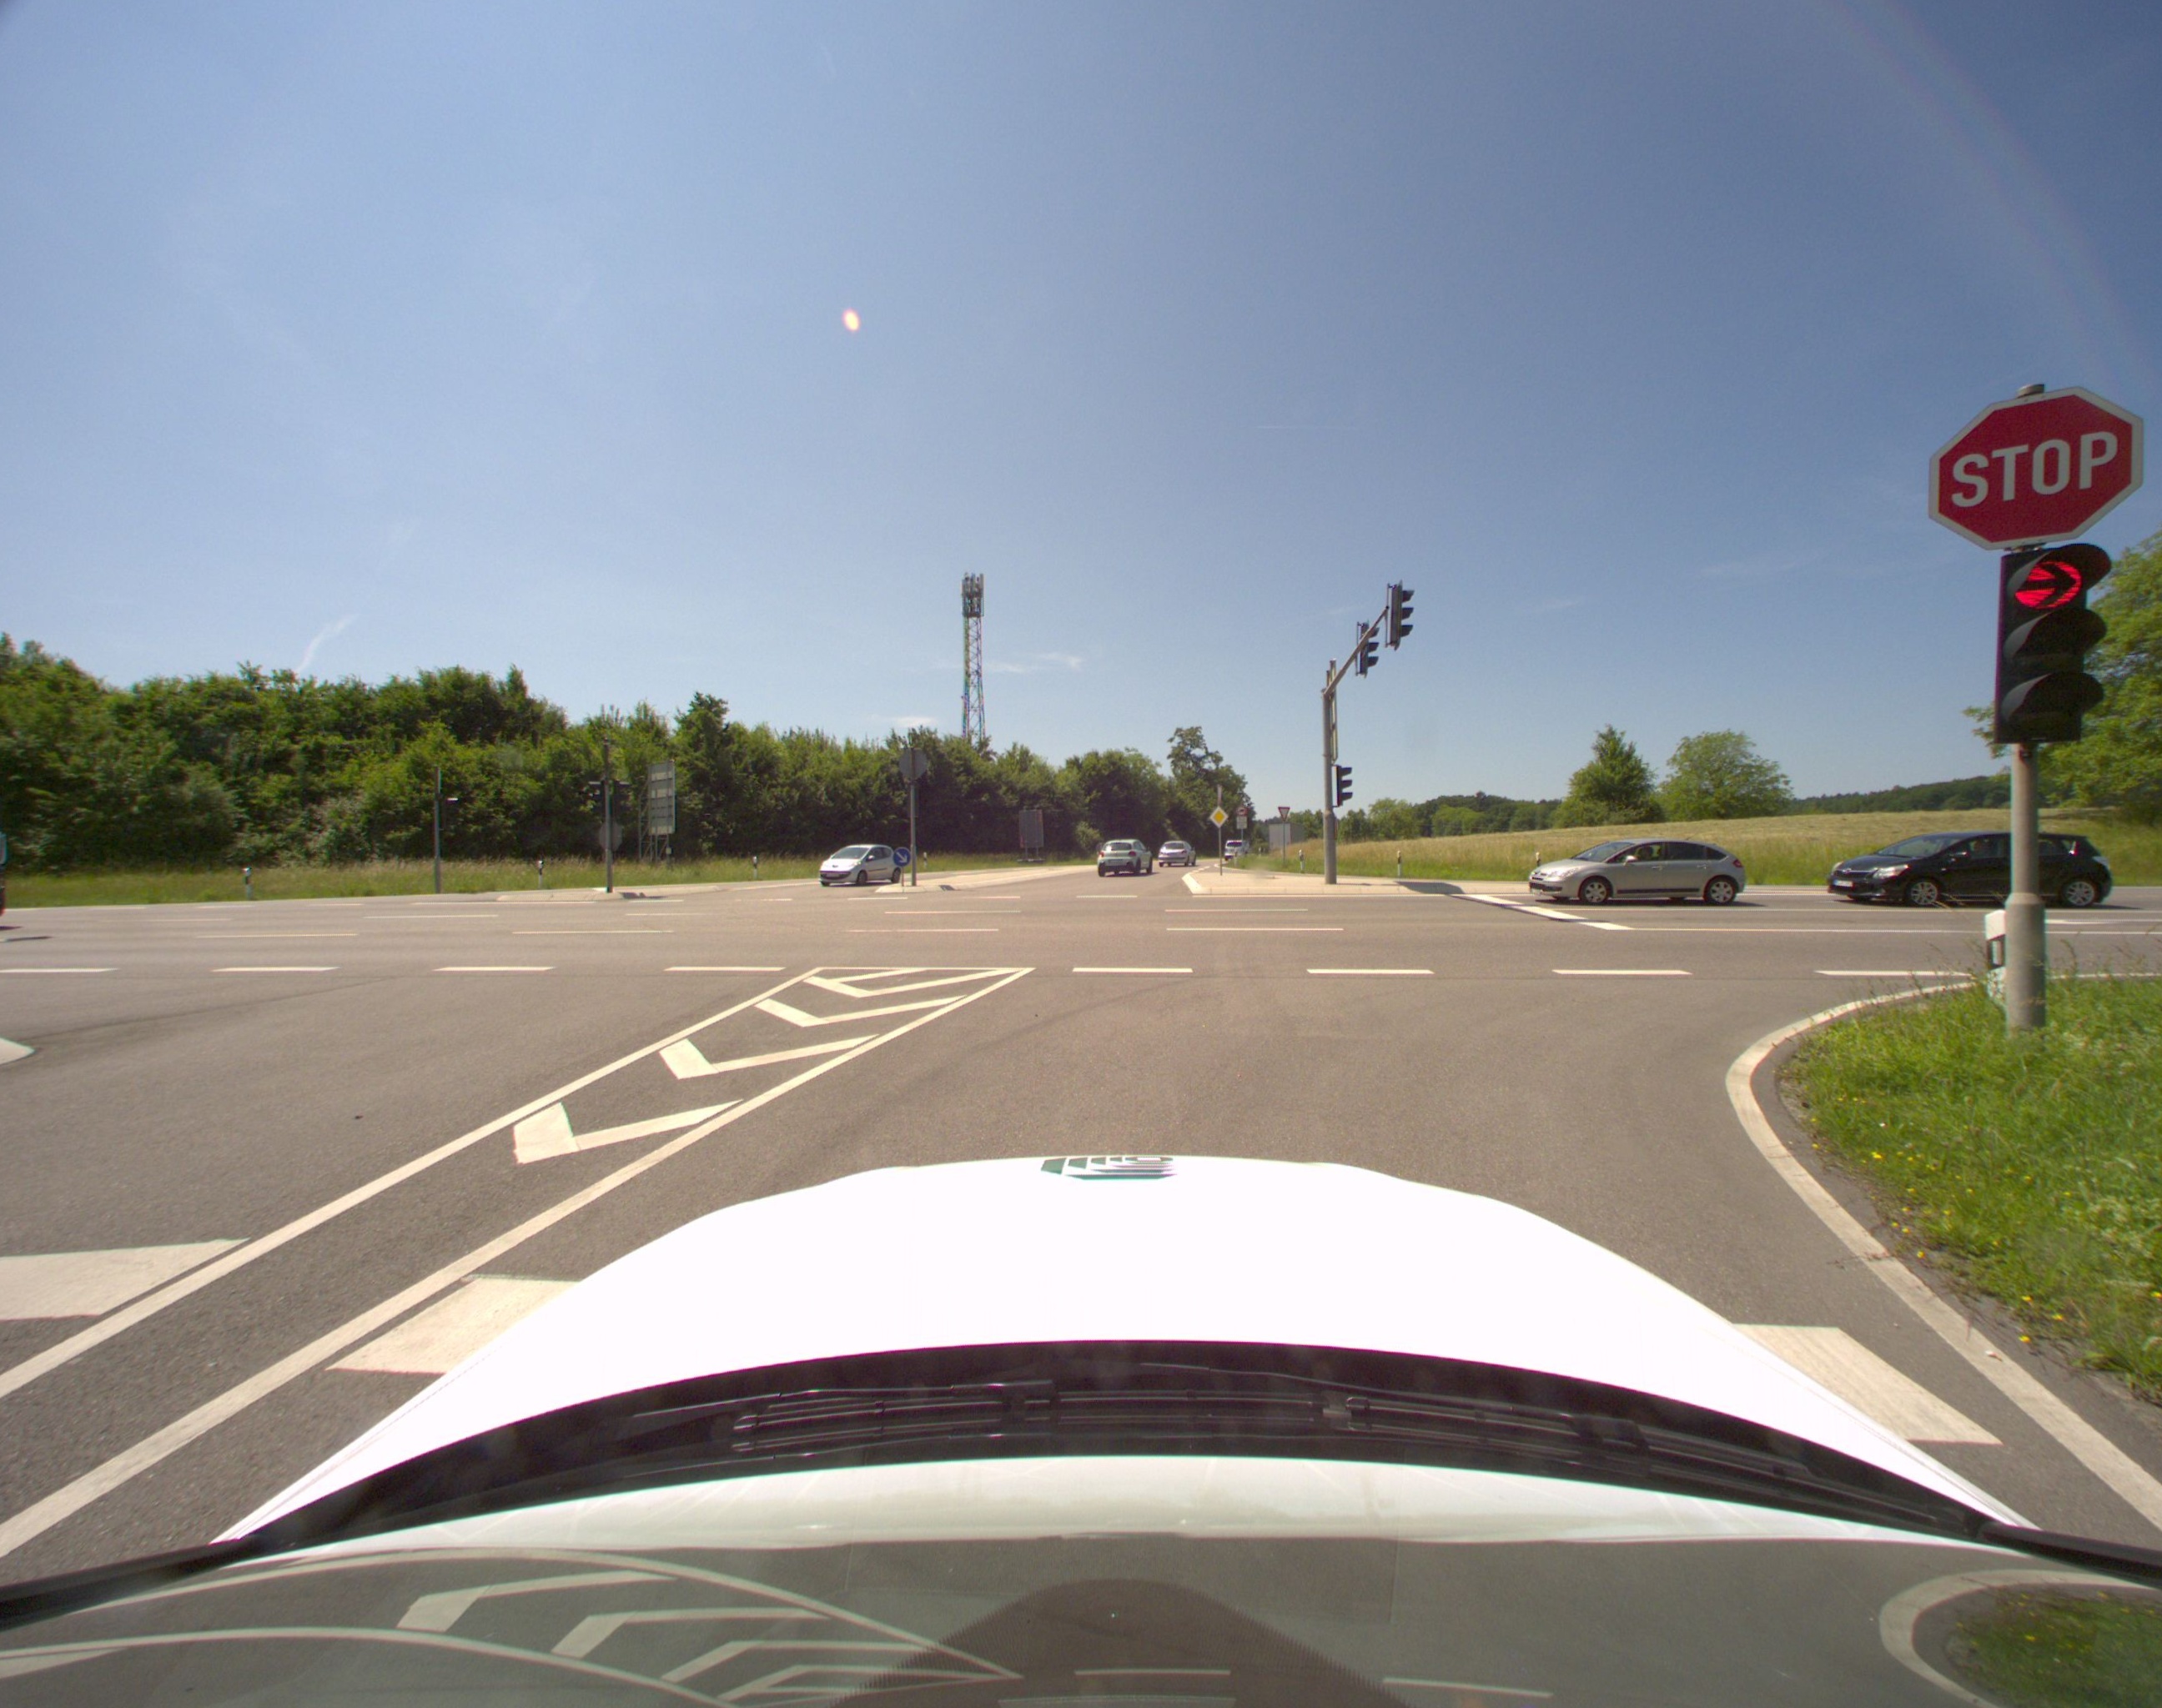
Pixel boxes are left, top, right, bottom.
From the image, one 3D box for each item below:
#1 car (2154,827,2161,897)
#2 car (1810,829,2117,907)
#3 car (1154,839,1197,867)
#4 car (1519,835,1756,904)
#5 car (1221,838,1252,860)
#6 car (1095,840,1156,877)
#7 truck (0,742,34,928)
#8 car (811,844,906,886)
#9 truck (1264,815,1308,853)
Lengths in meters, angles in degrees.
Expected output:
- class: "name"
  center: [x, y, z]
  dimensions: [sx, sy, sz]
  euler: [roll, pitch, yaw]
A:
- class: "car"
  center: [25.993, 0.205, 17.189]
  dimensions: [3.983, 1.553, 1.660]
  euler: [0, 2, 10]
- class: "car"
  center: [18.821, 0.260, 17.584]
  dimensions: [4.341, 1.553, 1.735]
  euler: [0, 2, 10]
- class: "car"
  center: [5.408, -0.074, 46.062]
  dimensions: [1.799, 1.413, 3.800]
  euler: [-1, 2, 16]
- class: "car"
  center: [12.521, 0.323, 18.548]
  dimensions: [4.135, 1.469, 1.733]
  euler: [0, 2, 7]
- class: "car"
  center: [12.772, -0.436, 66.783]
  dimensions: [1.797, 1.624, 4.081]
  euler: [-1, 1, 20]
- class: "car"
  center: [1.945, 0.139, 34.502]
  dimensions: [1.716, 1.404, 4.004]
  euler: [-1, 2, 16]
- class: "truck"
  center: [-26.562, -0.342, 16.743]
  dimensions: [6.244, 4.036, 2.659]
  euler: [-1, 1, -2]
- class: "car"
  center: [-8.010, 0.371, 29.625]
  dimensions: [1.552, 1.370, 3.548]
  euler: [0, 1, 18]
- class: "truck"
  center: [25.004, -2.271, 98.567]
  dimensions: [3.099, 4.172, 16.774]
  euler: [-1, 0, 21]
